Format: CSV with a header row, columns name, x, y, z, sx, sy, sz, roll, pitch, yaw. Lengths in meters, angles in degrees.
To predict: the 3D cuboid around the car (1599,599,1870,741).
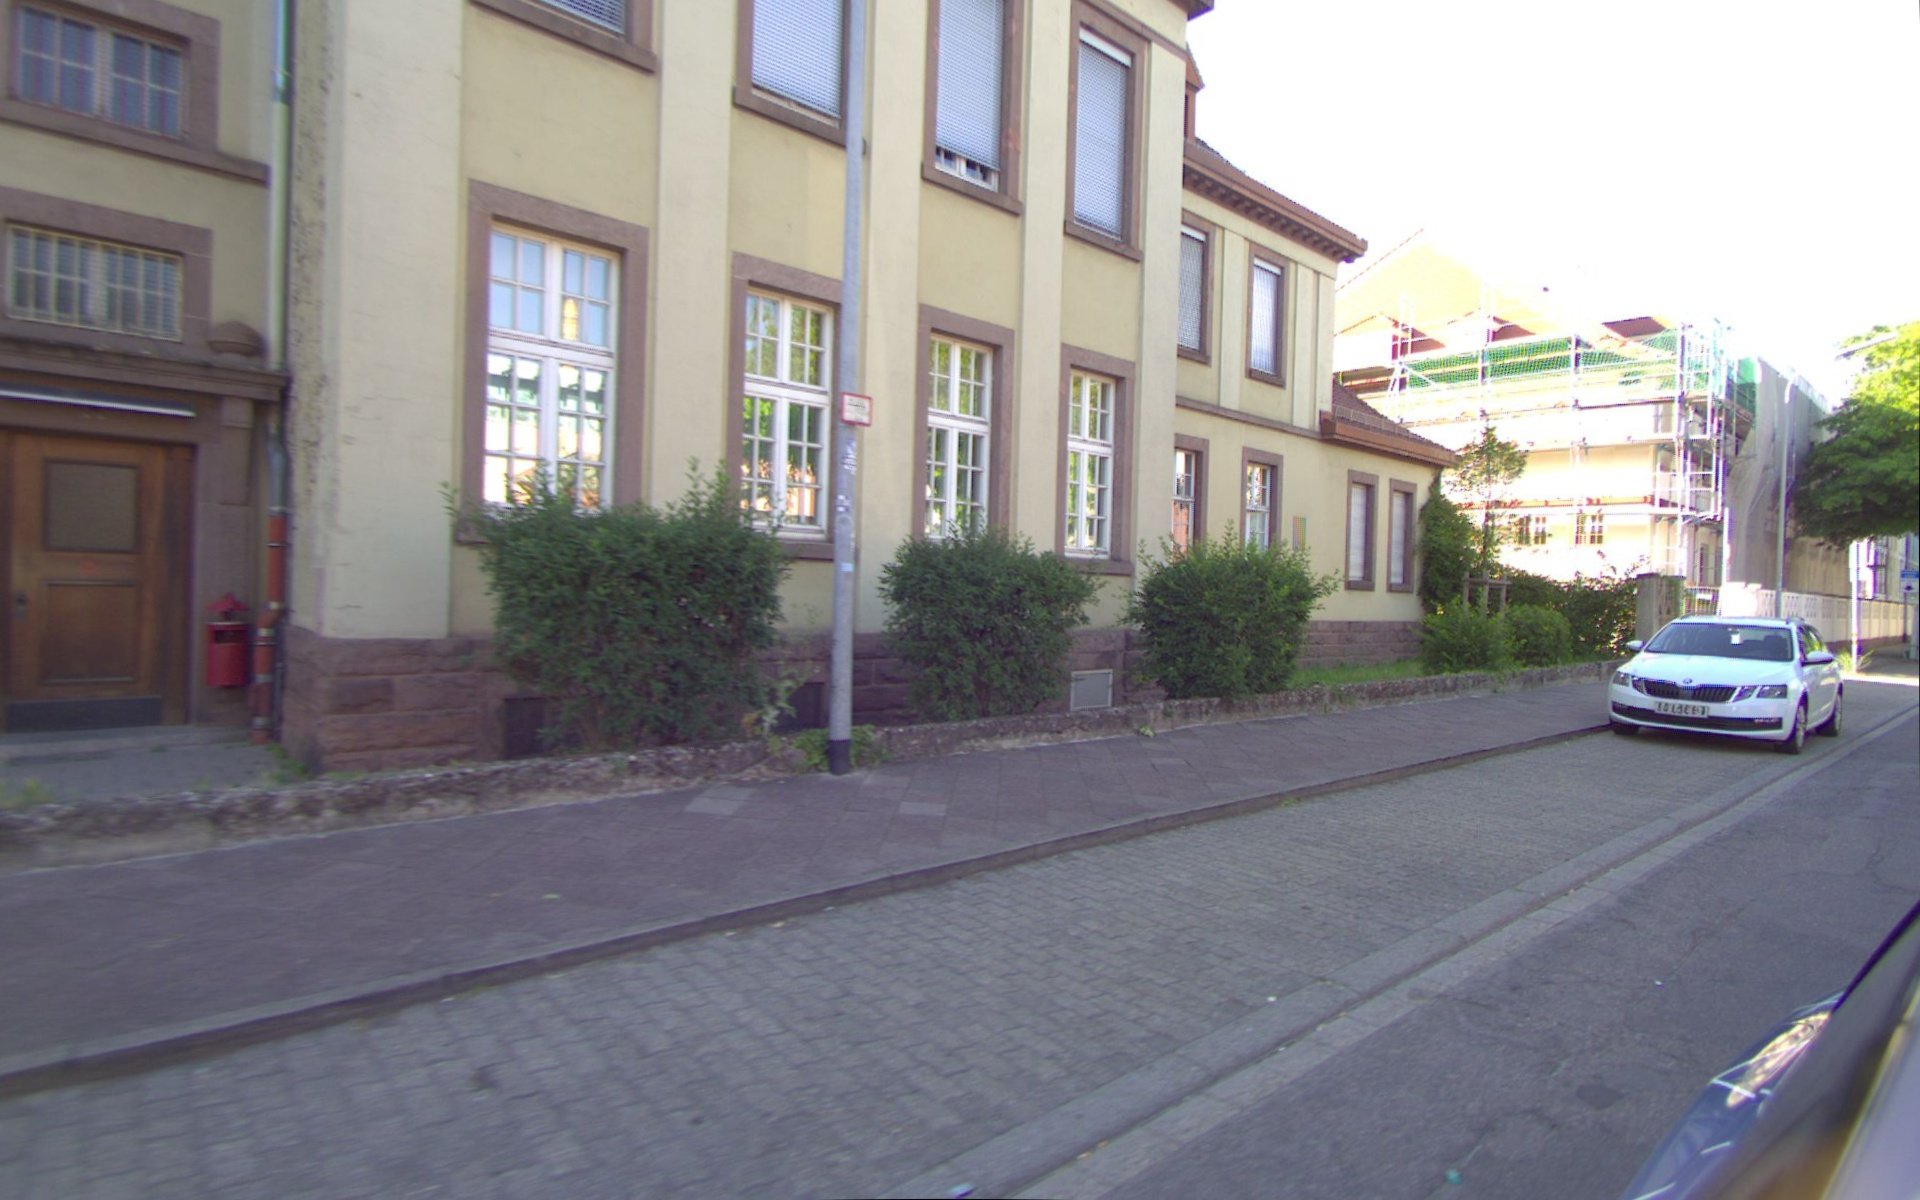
name,x,y,z,sx,sy,sz,roll,pitch,yaw
car,9.510,0.722,12.282,4.419,1.339,1.835,1,2,-42
